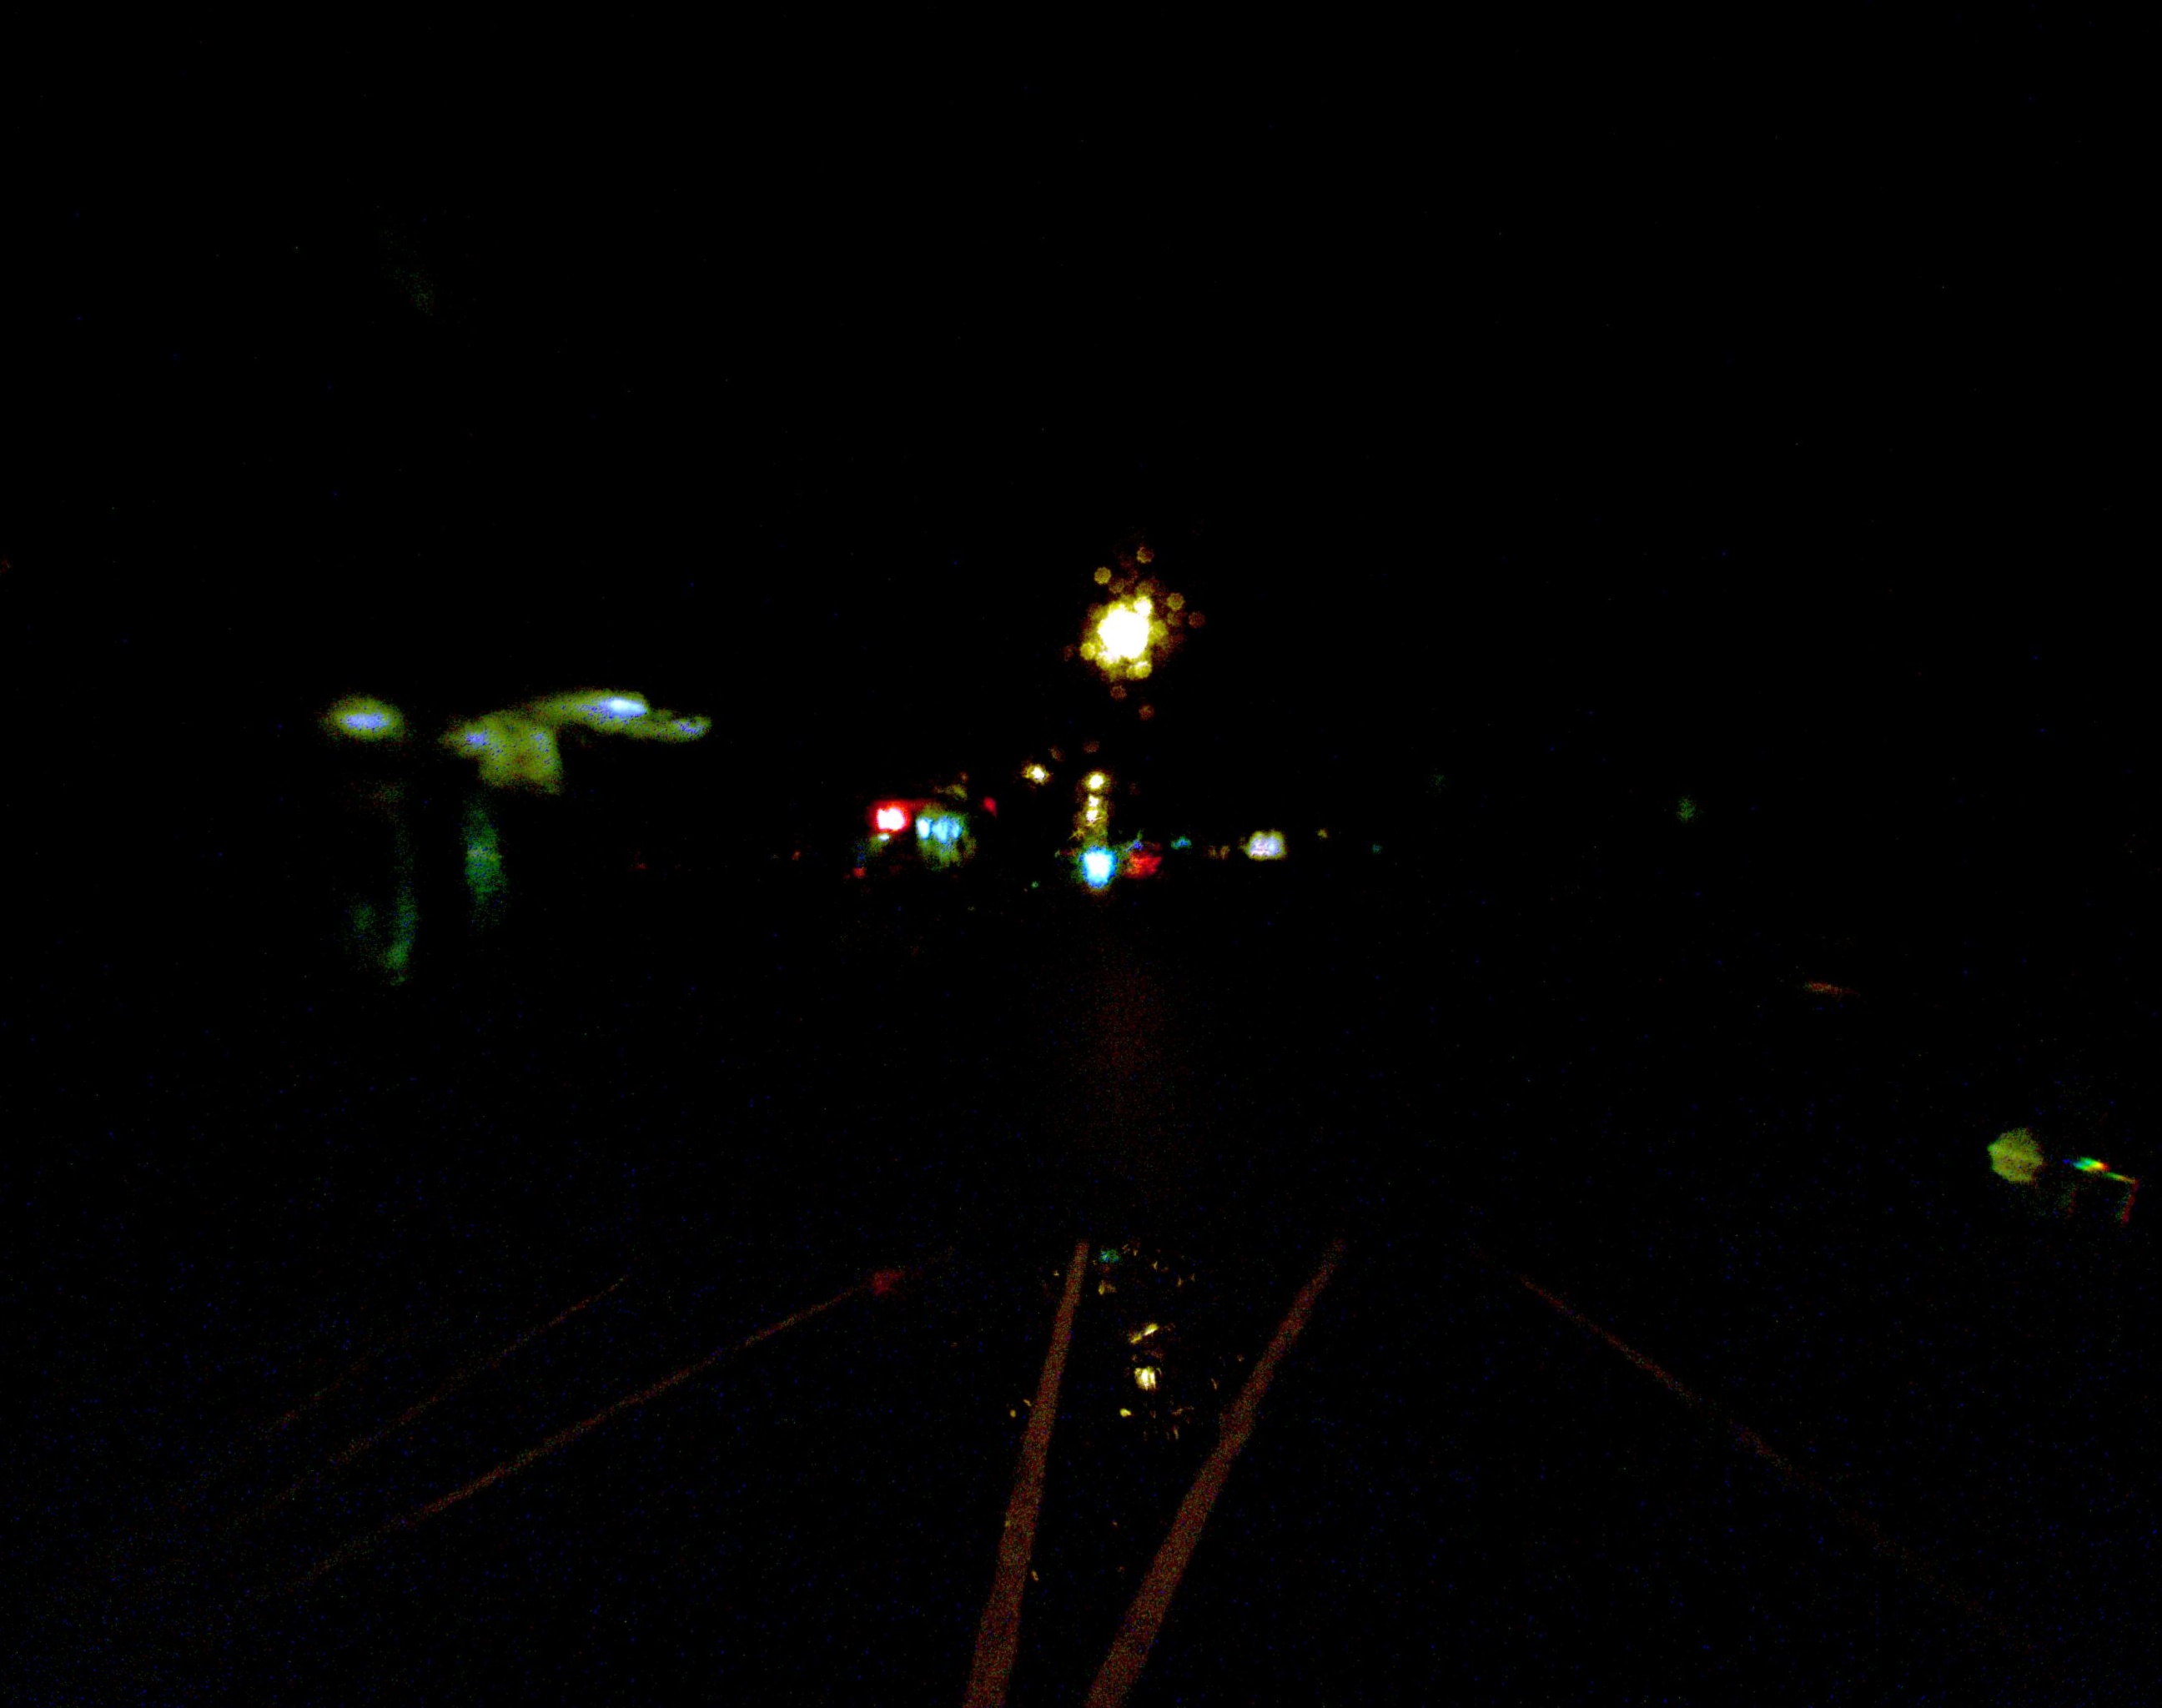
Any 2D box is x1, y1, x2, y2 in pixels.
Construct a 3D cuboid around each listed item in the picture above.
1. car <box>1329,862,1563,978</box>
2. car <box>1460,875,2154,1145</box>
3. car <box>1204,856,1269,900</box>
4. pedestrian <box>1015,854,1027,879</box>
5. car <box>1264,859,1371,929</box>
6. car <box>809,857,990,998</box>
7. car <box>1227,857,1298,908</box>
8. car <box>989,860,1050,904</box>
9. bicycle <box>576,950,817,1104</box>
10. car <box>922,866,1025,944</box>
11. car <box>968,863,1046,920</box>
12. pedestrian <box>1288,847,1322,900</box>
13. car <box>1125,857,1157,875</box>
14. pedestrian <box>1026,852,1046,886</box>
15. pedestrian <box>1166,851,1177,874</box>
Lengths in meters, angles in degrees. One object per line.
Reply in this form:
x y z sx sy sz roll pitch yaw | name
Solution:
5.476 0.896 12.100 1.731 1.445 4.273 -1 0 1 | car
5.257 0.953 6.598 1.731 1.384 4.555 -1 0 1 | car
5.693 0.875 28.263 1.697 1.470 3.964 -2 -1 2 | car
-4.671 0.969 59.215 0.776 1.890 0.777 -4 1 1 | pedestrian
5.490 0.878 18.052 1.531 1.445 3.384 -1 0 1 | car
-2.481 0.922 11.327 1.676 1.712 3.856 0 0 1 | car
5.710 0.873 24.232 1.696 1.470 3.385 -2 -1 5 | car
-2.233 0.983 28.580 1.846 1.498 4.162 0 0 1 | car
-3.203 1.337 6.240 2.267 0.889 0.619 0 0 30 | bicycle
-2.341 1.070 17.513 1.689 1.498 4.162 0 0 1 | car
-2.125 1.059 22.868 1.846 1.498 4.162 0 0 1 | car
7.810 0.668 26.496 0.912 1.777 0.629 -4 1 2 | pedestrian
4.952 1.012 63.382 1.878 1.386 4.072 -1 -1 -6 | car
-2.311 0.760 39.114 1.007 1.698 0.614 0 1 1 | pedestrian
8.038 0.774 67.503 0.776 2.002 0.587 -4 1 1 | pedestrian
